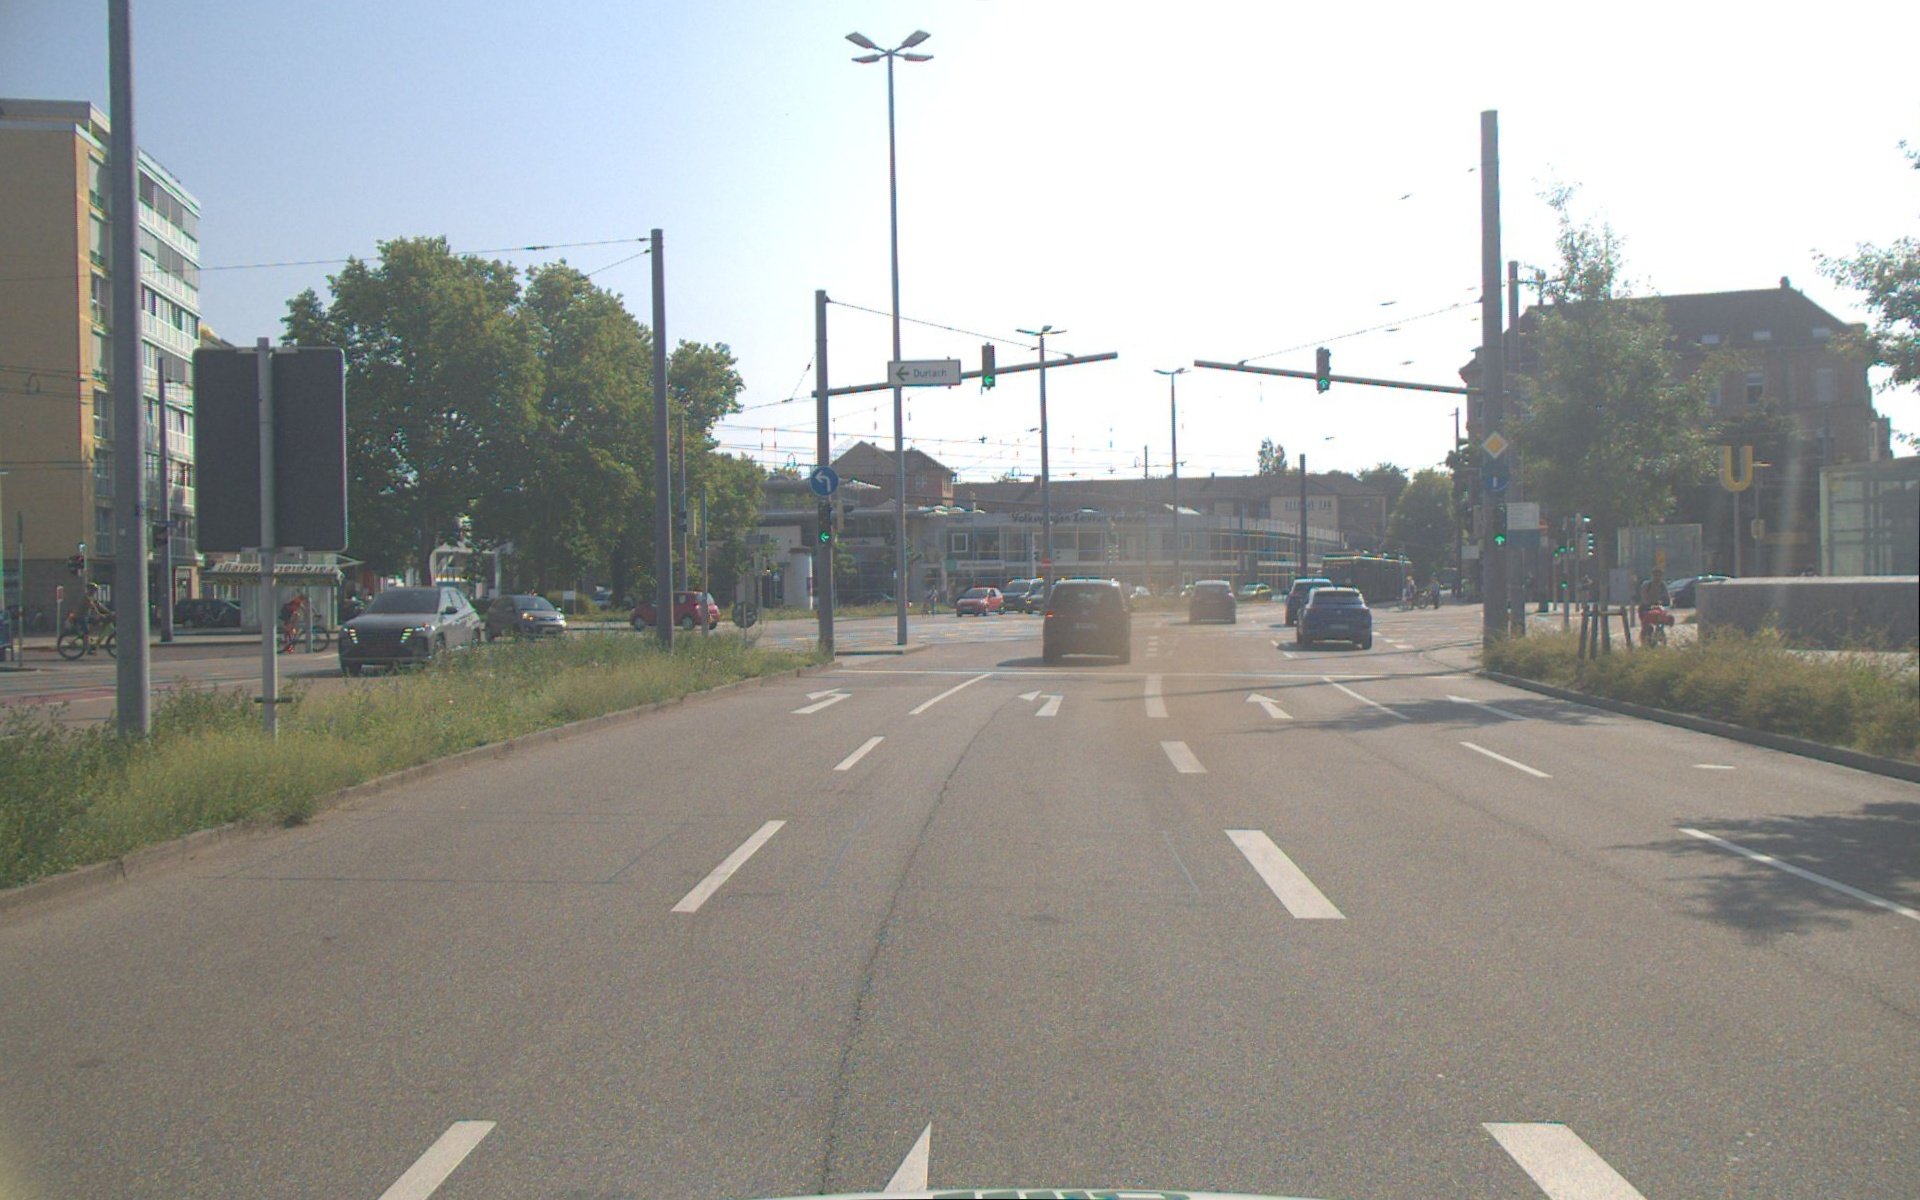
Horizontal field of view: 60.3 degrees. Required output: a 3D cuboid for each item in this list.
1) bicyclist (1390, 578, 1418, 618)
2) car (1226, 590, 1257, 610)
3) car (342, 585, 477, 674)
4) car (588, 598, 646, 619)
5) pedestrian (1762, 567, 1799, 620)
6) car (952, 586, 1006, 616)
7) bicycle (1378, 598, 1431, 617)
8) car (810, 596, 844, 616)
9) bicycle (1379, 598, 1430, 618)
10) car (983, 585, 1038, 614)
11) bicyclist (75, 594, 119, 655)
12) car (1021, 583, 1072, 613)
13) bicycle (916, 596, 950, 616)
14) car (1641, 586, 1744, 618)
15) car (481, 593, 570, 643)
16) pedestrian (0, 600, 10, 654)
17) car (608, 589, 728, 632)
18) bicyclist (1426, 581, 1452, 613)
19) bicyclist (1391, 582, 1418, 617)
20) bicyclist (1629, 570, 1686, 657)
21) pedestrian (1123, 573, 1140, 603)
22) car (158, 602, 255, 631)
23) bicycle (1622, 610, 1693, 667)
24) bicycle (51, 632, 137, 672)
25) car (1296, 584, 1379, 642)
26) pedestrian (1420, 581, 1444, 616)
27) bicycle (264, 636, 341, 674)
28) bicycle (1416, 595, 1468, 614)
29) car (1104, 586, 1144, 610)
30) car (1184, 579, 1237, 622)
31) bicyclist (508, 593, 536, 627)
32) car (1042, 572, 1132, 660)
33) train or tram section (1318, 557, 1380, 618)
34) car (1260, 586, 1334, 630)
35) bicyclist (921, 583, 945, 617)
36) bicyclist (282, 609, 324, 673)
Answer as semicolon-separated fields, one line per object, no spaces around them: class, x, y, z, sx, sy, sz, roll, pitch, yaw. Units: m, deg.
bicyclist;23.184;-0.124;86.377;0.925;2.059;1.081;-1;0;-32
car;22.426;0.009;131.790;1.581;1.501;4.000;-3;-1;21
car;-10.997;0.547;33.345;1.661;1.645;4.455;-1;0;-7
car;-27.036;0.674;130.528;1.671;1.549;4.497;0;0;36
pedestrian;27.335;-0.215;55.089;0.906;1.719;0.832;-1;0;42
car;1.029;0.028;87.360;1.581;1.501;4.001;-3;-1;20
bicycle;23.822;0.409;88.630;2.578;0.981;1.087;-1;0;-19
car;-10.264;0.454;127.666;1.663;1.549;4.103;-1;0;9
bicycle;23.231;0.429;86.398;2.593;0.981;1.081;-1;0;-32
car;2.924;-0.038;94.612;1.920;1.501;4.001;-3;-1;20
bicyclist;-22.156;0.620;42.468;0.779;1.554;0.725;-1;0;-6
car;4.711;-0.116;89.151;1.581;1.501;4.001;-3;-1;20
bicycle;-1.423;0.310;88.149;0.938;1.075;2.608;0;0;21
car;34.080;0.097;76.977;4.313;1.421;2.010;-1;0;-23
car;-13.825;0.550;52.457;1.868;1.477;3.638;-1;0;-30
pedestrian;-30.995;0.859;52.770;0.906;1.719;0.920;0;0;-12
car;-11.356;0.416;64.296;4.310;1.562;1.830;-1;0;25
bicyclist;26.035;-0.157;89.913;0.919;1.709;1.087;-1;0;-18
bicyclist;23.802;-0.019;88.621;0.919;1.831;1.087;-1;0;-18
bicyclist;12.746;0.241;30.249;0.704;1.539;1.005;-1;0;7
pedestrian;8.911;-0.627;85.976;0.761;1.529;0.711;-1;0;15
car;-36.973;0.806;81.253;4.085;1.378;1.476;-1;0;-14
bicycle;12.764;0.684;30.327;0.704;0.976;1.923;-1;0;7
bicycle;-22.226;1.326;42.464;1.778;0.948;0.725;-1;0;-6
car;10.055;0.314;44.291;1.786;1.453;4.416;-1;0;8
pedestrian;24.973;-0.065;87.463;0.917;1.828;0.849;-1;0;-36
bicycle;-17.615;1.463;44.339;1.778;0.948;0.725;-1;0;-6
bicycle;26.219;0.213;89.983;2.578;0.981;1.087;-1;0;-19
car;11.077;-0.171;111.414;1.581;1.501;4.000;-3;-1;21
car;9.502;0.000;62.908;1.787;1.562;4.416;-1;0;6
bicyclist;-20.550;0.464;77.596;1.141;1.554;0.959;-1;0;-10
car;2.673;0.299;35.290;1.787;1.744;4.414;0;1;3
train or tram section;25.627;-0.884;108.576;2.600;3.763;10.591;-1;0;20
car;11.759;0.259;57.978;1.788;1.453;4.413;-1;0;1
bicyclist;-1.434;-0.012;88.123;0.938;1.779;1.166;-1;0;21
bicyclist;-17.611;1.091;44.340;0.864;1.681;0.725;-1;0;-6
